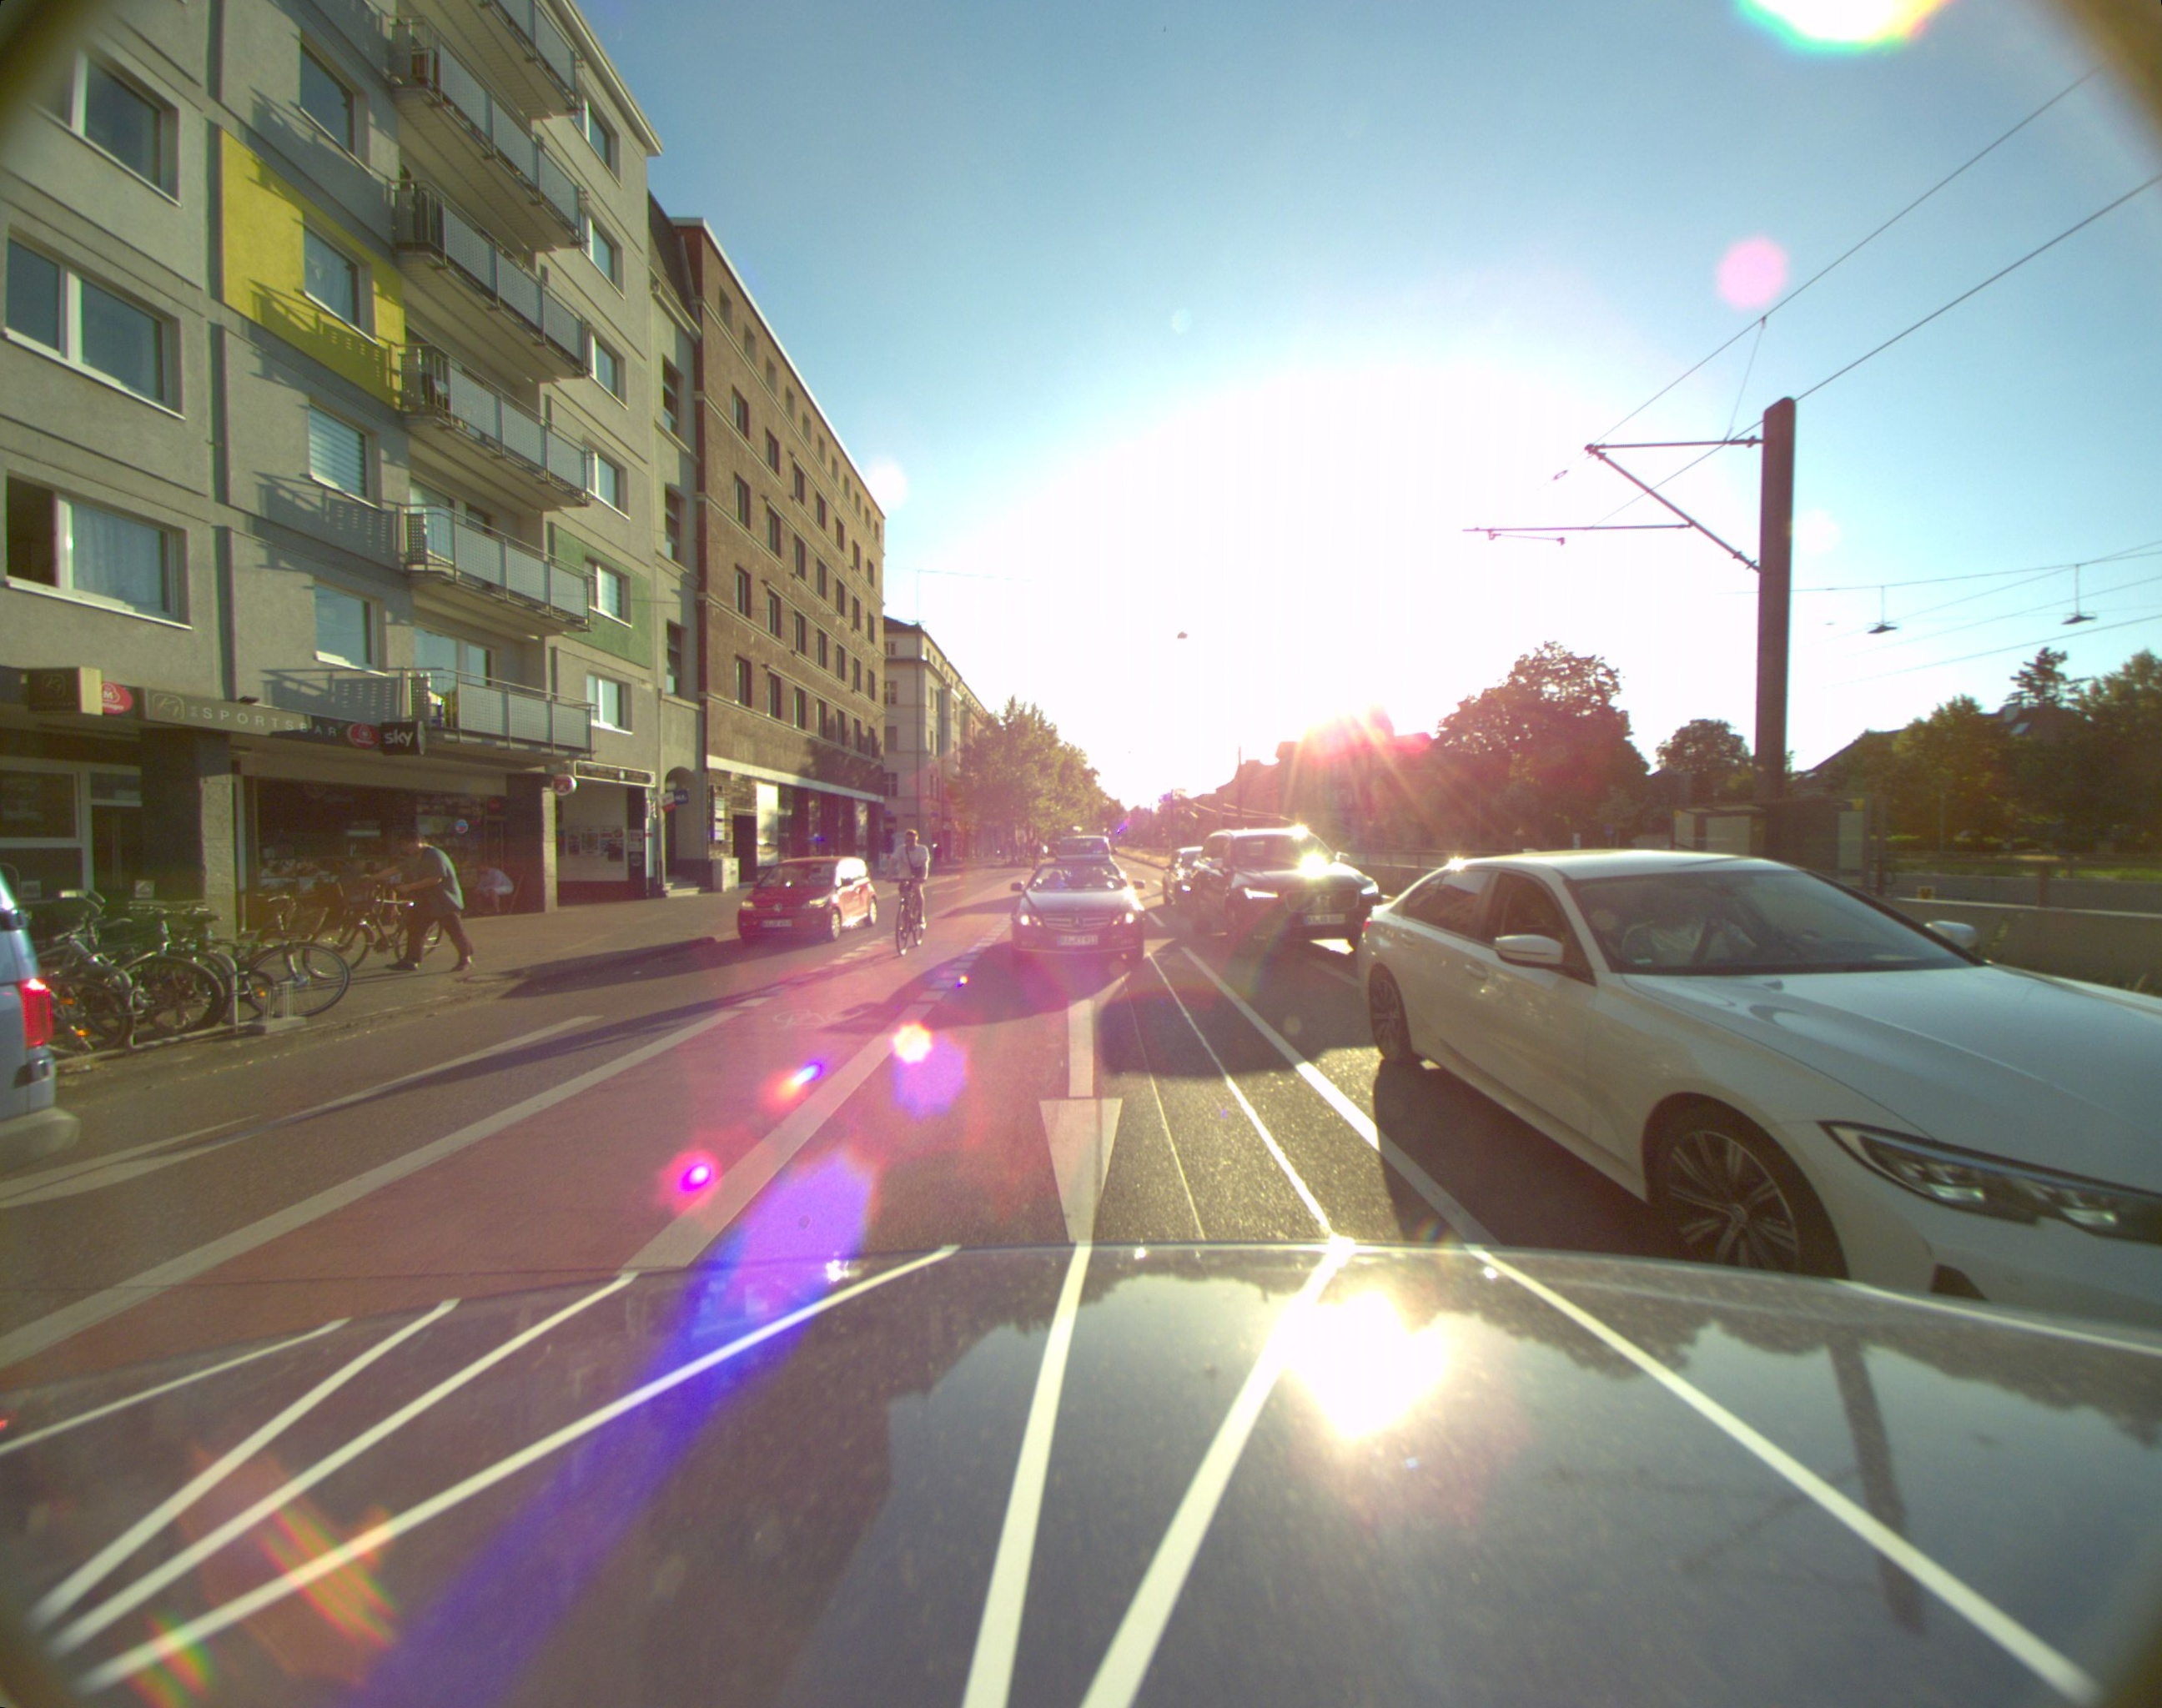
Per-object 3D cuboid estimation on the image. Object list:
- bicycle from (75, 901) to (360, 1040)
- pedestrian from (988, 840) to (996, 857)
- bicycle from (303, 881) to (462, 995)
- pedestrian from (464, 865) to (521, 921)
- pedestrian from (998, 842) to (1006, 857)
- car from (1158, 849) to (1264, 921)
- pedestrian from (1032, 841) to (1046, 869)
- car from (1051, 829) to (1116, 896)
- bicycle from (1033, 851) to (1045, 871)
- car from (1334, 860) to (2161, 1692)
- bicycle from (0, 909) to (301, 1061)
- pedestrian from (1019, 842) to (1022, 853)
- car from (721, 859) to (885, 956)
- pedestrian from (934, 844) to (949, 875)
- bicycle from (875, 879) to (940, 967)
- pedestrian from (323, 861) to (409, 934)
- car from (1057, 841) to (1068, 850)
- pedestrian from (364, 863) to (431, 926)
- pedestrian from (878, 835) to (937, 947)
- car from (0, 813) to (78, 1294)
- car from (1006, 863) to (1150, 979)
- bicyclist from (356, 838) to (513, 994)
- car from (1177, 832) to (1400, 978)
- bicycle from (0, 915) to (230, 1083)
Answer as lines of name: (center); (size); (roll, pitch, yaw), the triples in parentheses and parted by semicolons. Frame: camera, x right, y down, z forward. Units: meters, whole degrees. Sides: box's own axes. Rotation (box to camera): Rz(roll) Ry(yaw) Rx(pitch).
bicycle: (-7.808, 1.039, 6.923); (1.873, 1.119, 0.568); (2, 1, -3)
pedestrian: (-8.930, -0.575, 76.401); (0.728, 1.666, 0.924); (-1, 1, 0)
bicycle: (-8.600, 0.985, 9.466); (0.568, 1.170, 1.871); (2, 1, -12)
pedestrian: (-12.591, 0.827, 16.269); (0.606, 1.145, 0.727); (-1, 1, 0)
pedestrian: (-7.908, -0.442, 76.113); (0.728, 1.431, 0.924); (-1, 1, 0)
car: (2.936, 0.640, 17.968); (1.815, 1.393, 3.918); (-3, 1, 1)
pedestrian: (-2.475, 0.068, 44.764); (0.679, 1.639, 0.901); (-2, 1, 2)
car: (0.082, 0.216, 25.274); (1.920, 1.978, 4.946); (-1, 1, 0)
bicycle: (-2.455, 0.394, 44.866); (0.530, 1.152, 1.849); (-1, 1, 2)
car: (2.908, 0.825, 3.713); (1.842, 1.393, 4.583); (-3, 1, 1)
bicycle: (-7.784, 1.070, 6.349); (1.873, 1.119, 0.568); (2, 1, -3)
pedestrian: (-8.095, -0.829, 101.305); (0.310, 1.431, 0.357); (-1, 1, 8)
car: (-5.052, 0.895, 14.335); (1.687, 1.472, 3.539); (-2, 1, 1)
pedestrian: (-7.239, 0.255, 39.501); (0.603, 1.587, 0.884); (-1, 1, 0)
bicycle: (-2.616, 1.004, 11.644); (0.530, 1.152, 1.849); (-2, 1, 1)
pedestrian: (-13.360, 0.797, 14.235); (0.646, 1.287, 0.954); (-1, 1, 3)
car: (-3.271, -1.560, 136.820); (1.774, 1.474, 4.309); (0, 1, 1)
pedestrian: (-13.883, 0.806, 15.443); (0.727, 1.224, 0.647); (-1, 1, 2)
pedestrian: (-2.642, 0.537, 11.650); (0.640, 1.639, 0.843); (-2, 1, 0)
car: (-5.328, 0.839, 0.841); (1.941, 1.922, 4.831); (0, 1, 1)
car: (-0.038, 0.861, 11.552); (1.776, 1.300, 4.239); (-1, 1, 0)
bicyclist: (-7.964, 0.705, 9.449); (1.388, 1.797, 0.742); (-2, 2, -36)
car: (2.863, 0.593, 11.758); (1.956, 1.702, 4.849); (-3, 1, -1)
bicycle: (-7.768, 1.079, 5.778); (1.873, 1.119, 0.568); (2, 1, -3)
